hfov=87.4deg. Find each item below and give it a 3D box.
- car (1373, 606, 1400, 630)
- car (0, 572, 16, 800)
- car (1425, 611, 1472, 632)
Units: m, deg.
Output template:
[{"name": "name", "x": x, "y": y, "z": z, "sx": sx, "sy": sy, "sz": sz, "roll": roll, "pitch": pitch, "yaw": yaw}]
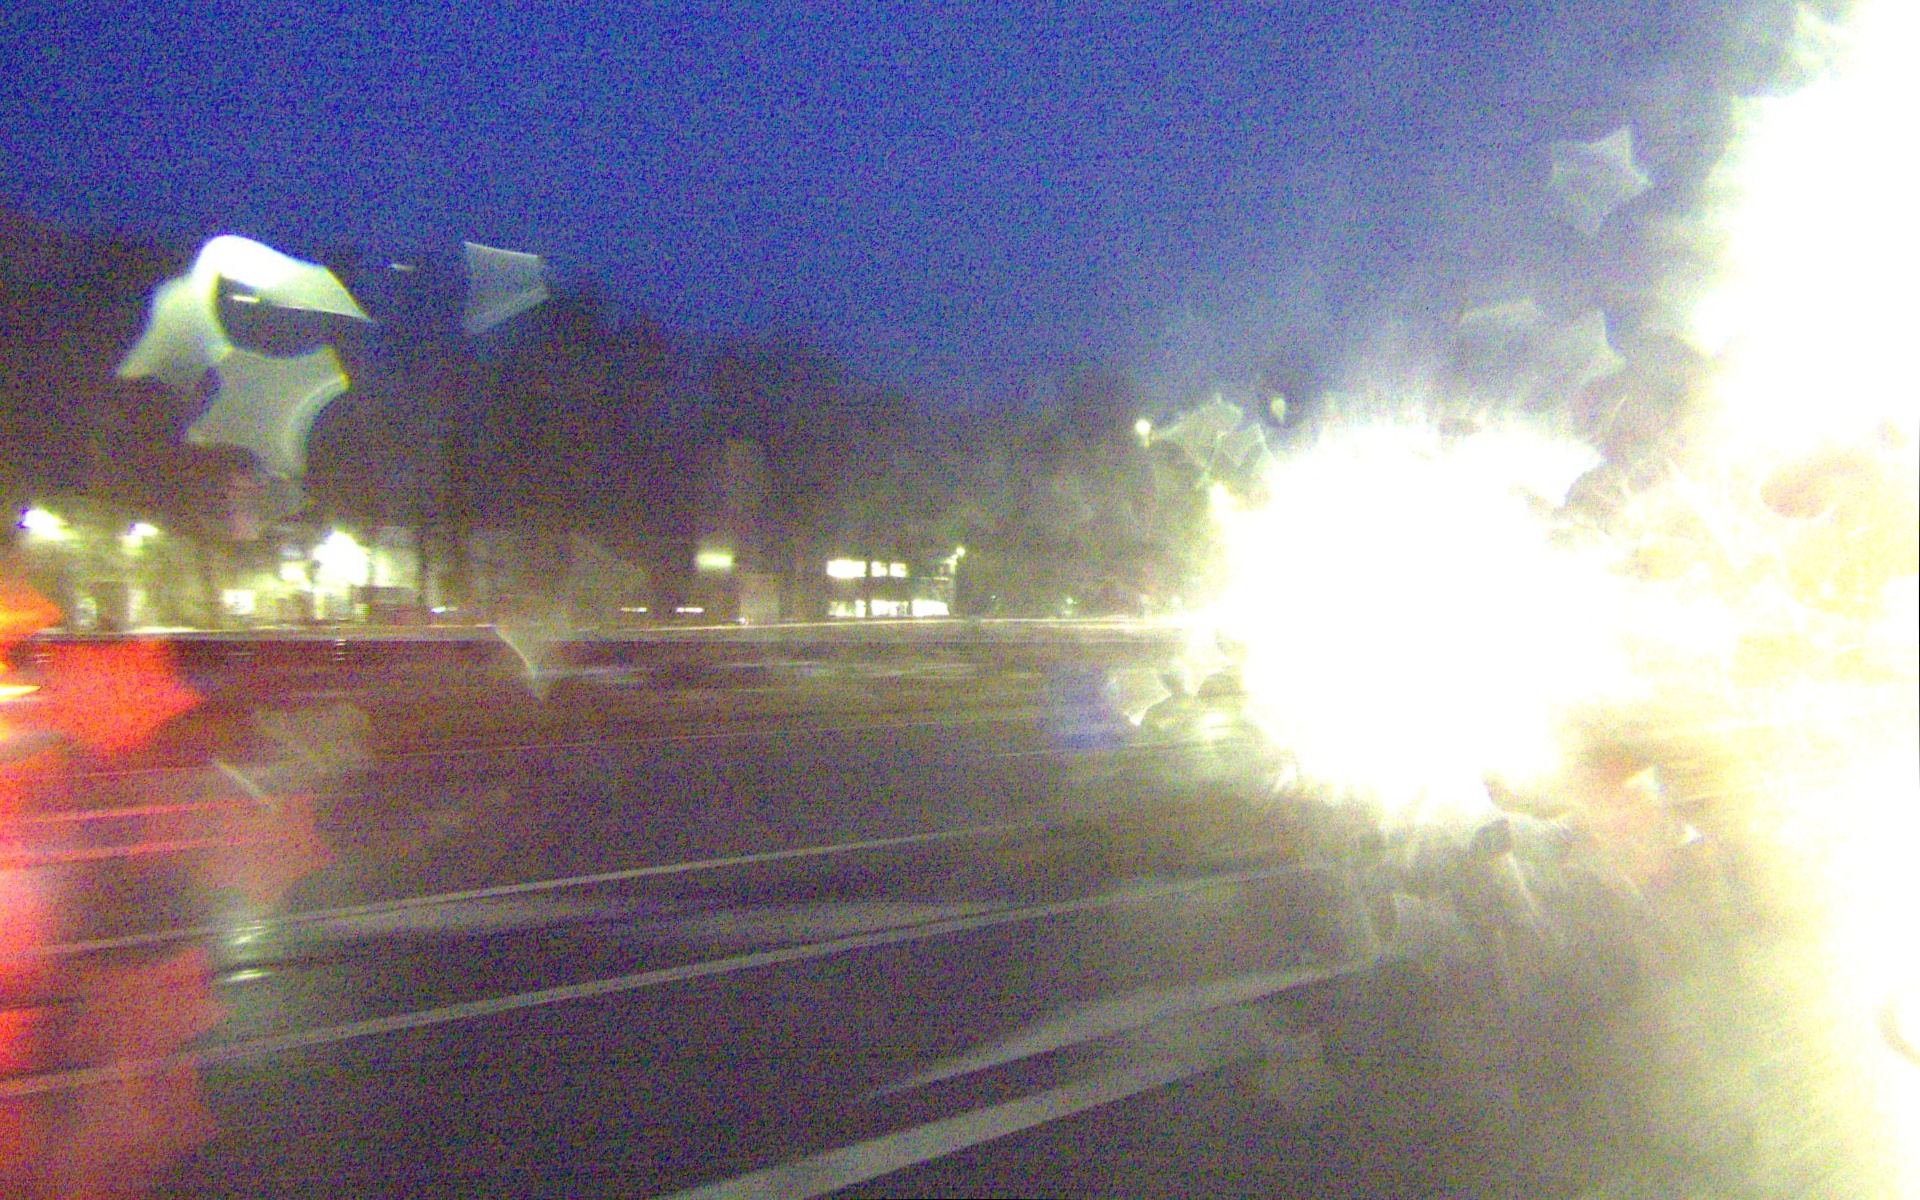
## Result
[{"name": "car", "x": 29.047, "y": 1.195, "z": 68.408, "sx": 1.487, "sy": 1.538, "sz": 4.370, "roll": 3, "pitch": 1, "yaw": 25}, {"name": "car", "x": -8.653, "y": 0.602, "z": 5.653, "sx": 4.604, "sy": 1.663, "sz": 1.750, "roll": 1, "pitch": 1, "yaw": -34}, {"name": "car", "x": 37.778, "y": 1.656, "z": 77.616, "sx": 3.964, "sy": 1.539, "sz": 1.708, "roll": 1, "pitch": 0, "yaw": -38}]
